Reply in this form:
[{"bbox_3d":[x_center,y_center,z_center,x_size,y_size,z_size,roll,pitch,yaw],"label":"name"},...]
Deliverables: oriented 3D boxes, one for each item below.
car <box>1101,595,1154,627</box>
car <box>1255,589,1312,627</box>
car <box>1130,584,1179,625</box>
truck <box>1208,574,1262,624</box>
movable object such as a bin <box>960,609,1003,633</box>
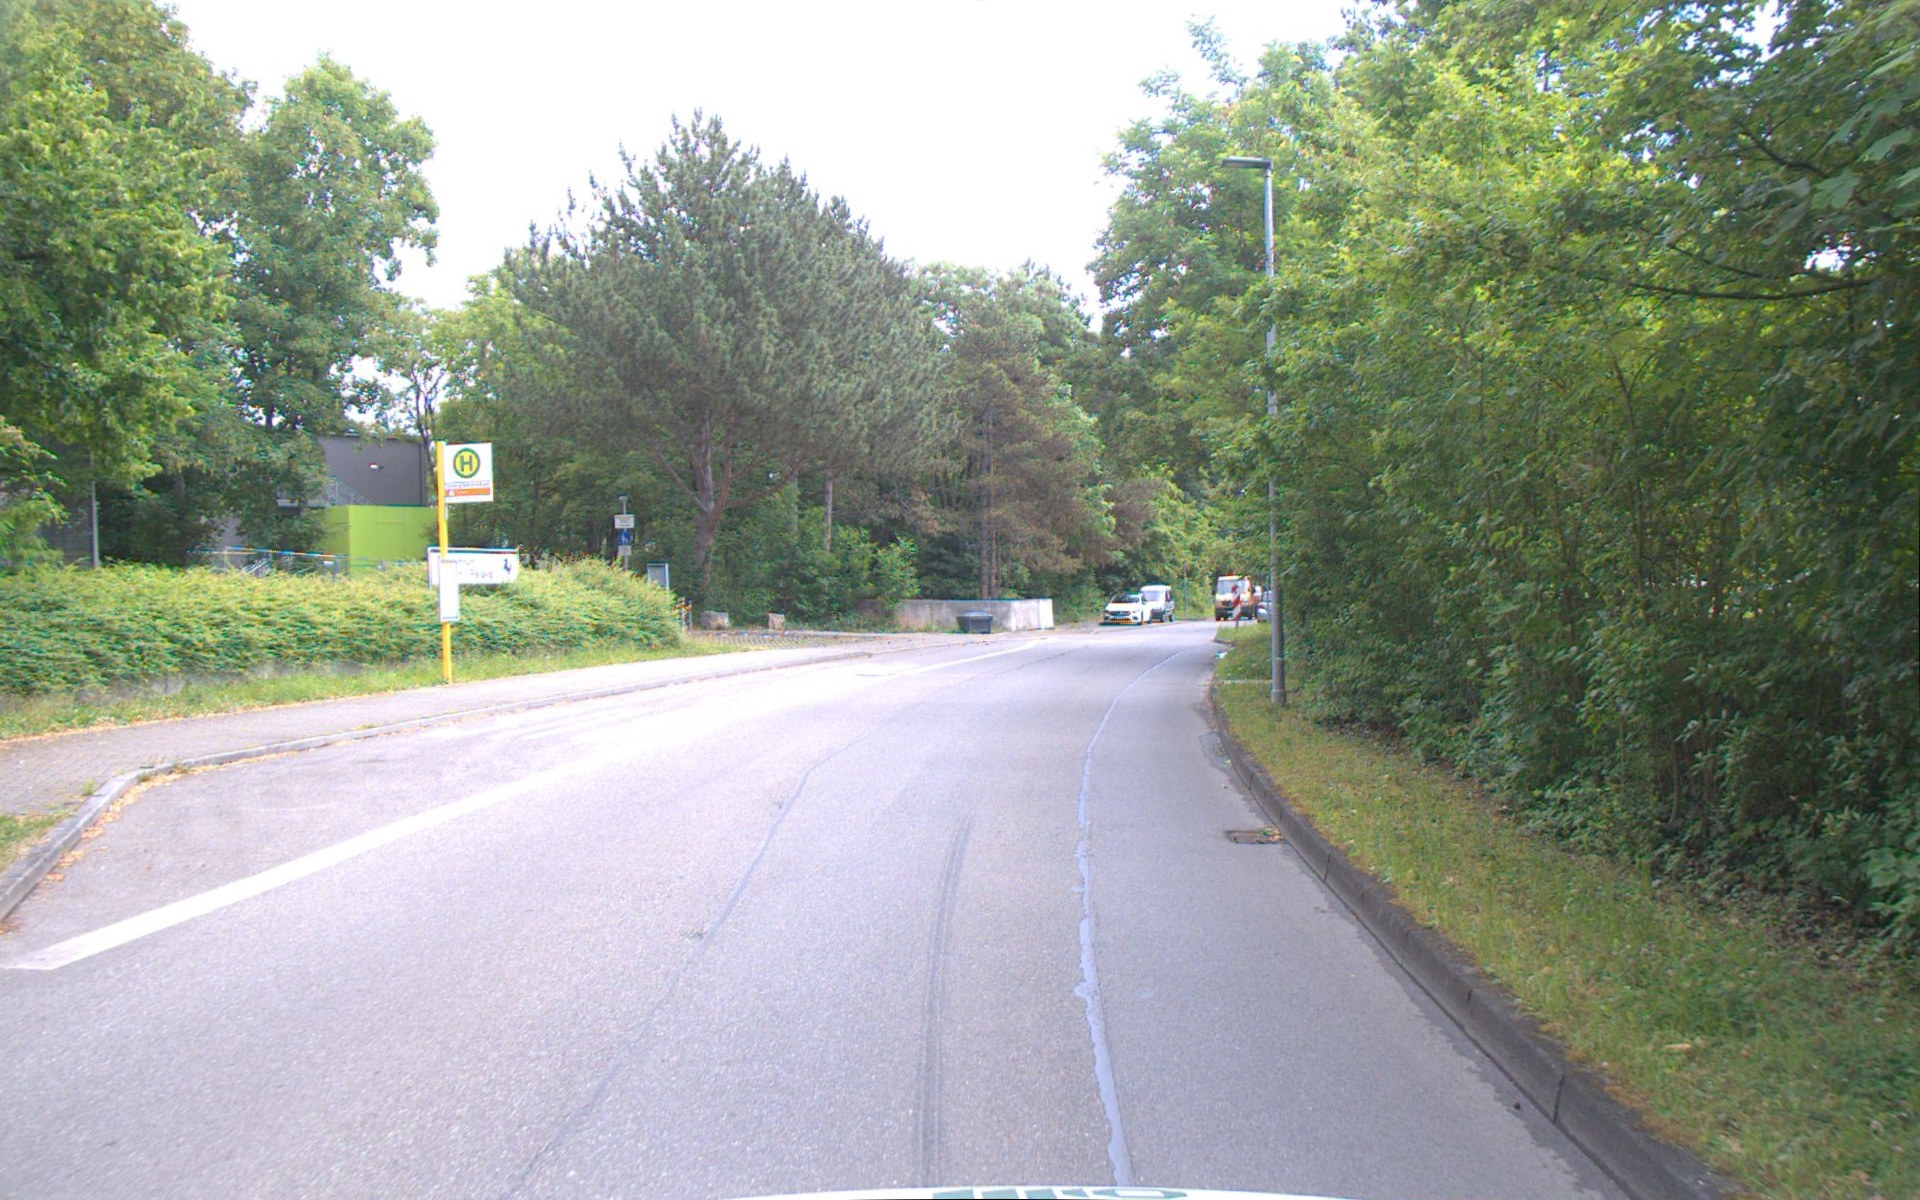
[{"bbox_3d":[7.842,0.471,77.226,1.767,1.427,4.375,0,0,15],"label":"car"},{"bbox_3d":[13.073,0.322,66.664,1.755,1.435,4.061,-2,0,17],"label":"car"},{"bbox_3d":[9.879,0.197,83.741,1.685,1.955,4.107,0,1,18],"label":"car"},{"bbox_3d":[14.696,-0.091,88.133,2.273,2.513,6.025,0,1,15],"label":"truck"},{"bbox_3d":[0.699,0.700,54.296,1.127,0.773,1.043,1,-1,-21],"label":"movable object such as a bin"}]
